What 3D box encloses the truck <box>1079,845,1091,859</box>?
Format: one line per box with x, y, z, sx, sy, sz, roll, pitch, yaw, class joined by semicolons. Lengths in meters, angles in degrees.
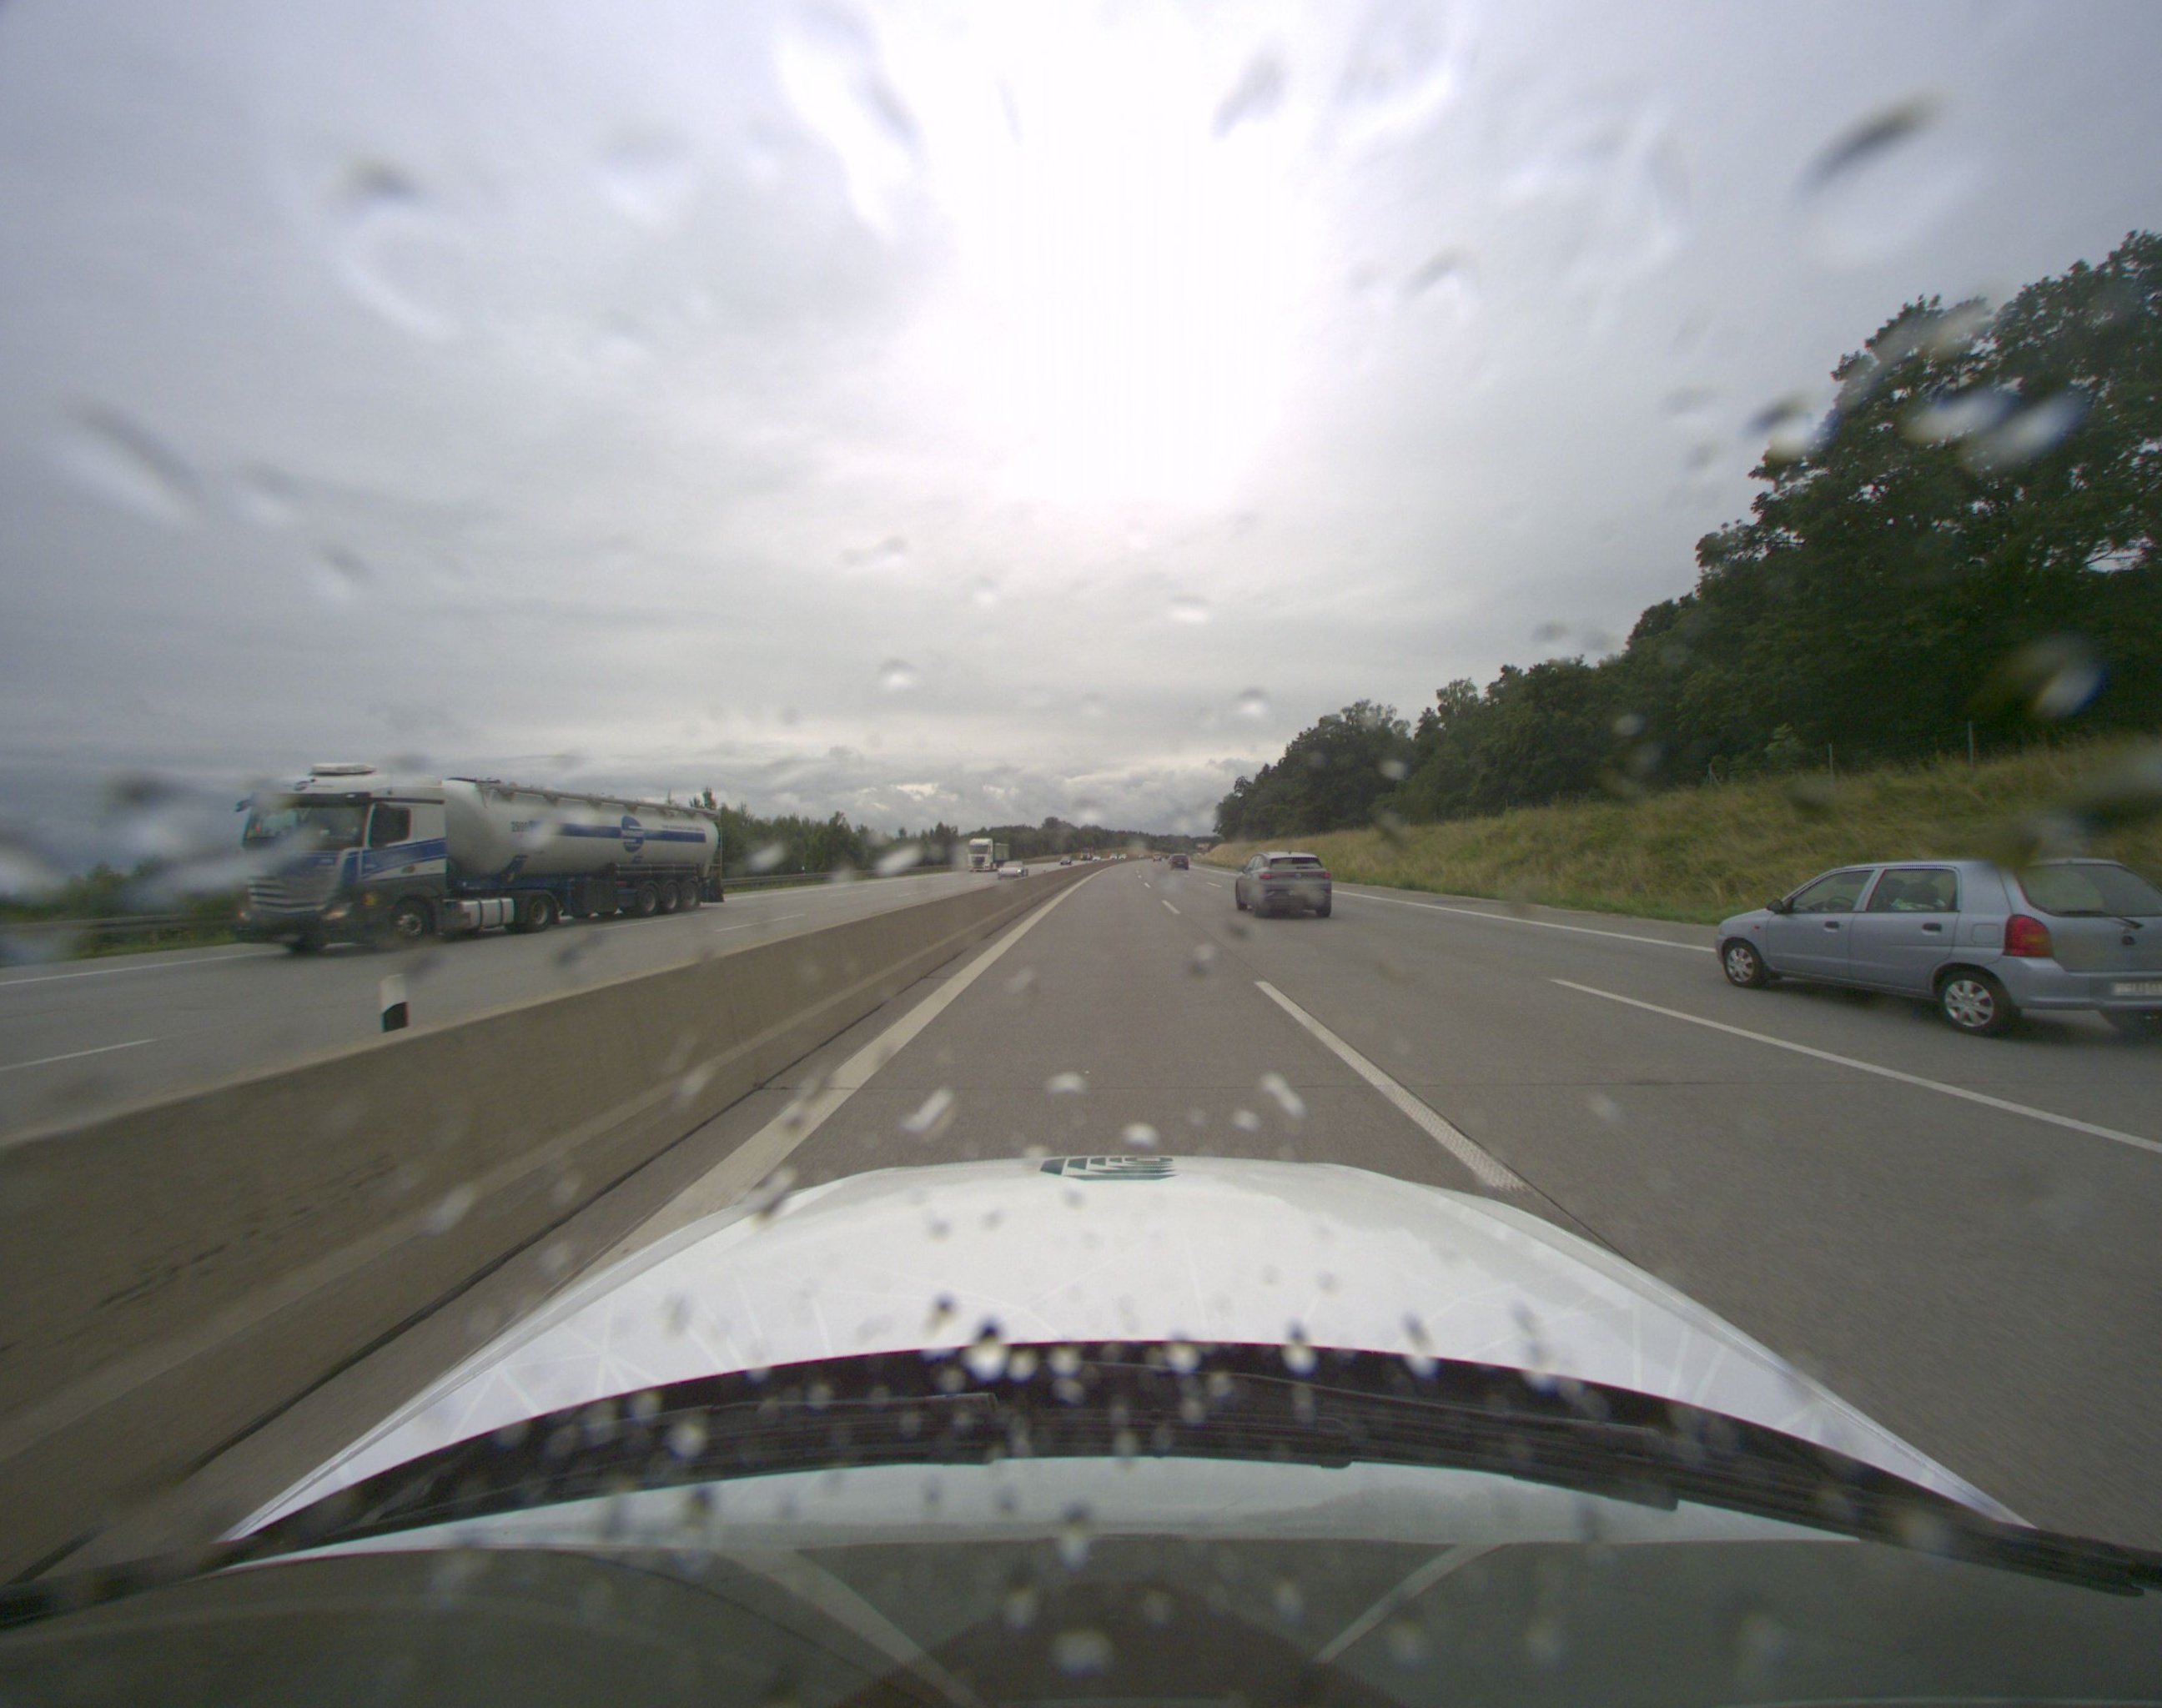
1.096;-0.504;224.773;2.574;3.652;7.670;-1;0;5;truck

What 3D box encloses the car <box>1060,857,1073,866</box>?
-2.596;1.382;146.915;1.985;1.589;4.775;-1;0;3;car

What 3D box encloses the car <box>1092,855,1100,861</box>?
3.802;0.918;204.895;1.728;1.367;4.104;2;2;6;car

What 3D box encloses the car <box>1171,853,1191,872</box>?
10.644;0.871;86.715;1.777;1.746;3.920;-4;1;4;car

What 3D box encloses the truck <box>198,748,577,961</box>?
-15.278;0.003;18.880;2.737;3.999;6.930;-1;0;1;truck

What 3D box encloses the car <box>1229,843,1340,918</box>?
5.156;0.585;21.372;1.890;1.689;5.271;-1;1;3;car

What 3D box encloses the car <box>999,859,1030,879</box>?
-5.260;1.178;65.140;1.986;1.441;4.769;0;1;2;car

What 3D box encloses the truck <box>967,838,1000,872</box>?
-11.316;0.093;95.021;2.739;3.802;5.535;-1;-1;3;truck

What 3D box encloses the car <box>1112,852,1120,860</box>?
9.242;0.564;214.139;1.984;2.013;5.532;0;1;4;car

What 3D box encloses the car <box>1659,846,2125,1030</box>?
7.975;0.685;8.515;1.480;1.470;3.506;-1;1;2;car

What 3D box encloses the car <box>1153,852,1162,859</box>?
17.540;0.306;187.547;1.831;1.500;4.009;-4;1;7;car

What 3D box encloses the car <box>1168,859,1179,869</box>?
16.084;1.722;141.194;1.791;1.465;3.818;-1;1;7;car

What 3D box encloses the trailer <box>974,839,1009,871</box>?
-11.011;0.117;101.015;2.738;3.800;9.323;-1;0;3;trailer

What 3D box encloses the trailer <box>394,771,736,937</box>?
-15.110;-0.029;25.881;2.748;3.998;12.293;-1;0;1;trailer
